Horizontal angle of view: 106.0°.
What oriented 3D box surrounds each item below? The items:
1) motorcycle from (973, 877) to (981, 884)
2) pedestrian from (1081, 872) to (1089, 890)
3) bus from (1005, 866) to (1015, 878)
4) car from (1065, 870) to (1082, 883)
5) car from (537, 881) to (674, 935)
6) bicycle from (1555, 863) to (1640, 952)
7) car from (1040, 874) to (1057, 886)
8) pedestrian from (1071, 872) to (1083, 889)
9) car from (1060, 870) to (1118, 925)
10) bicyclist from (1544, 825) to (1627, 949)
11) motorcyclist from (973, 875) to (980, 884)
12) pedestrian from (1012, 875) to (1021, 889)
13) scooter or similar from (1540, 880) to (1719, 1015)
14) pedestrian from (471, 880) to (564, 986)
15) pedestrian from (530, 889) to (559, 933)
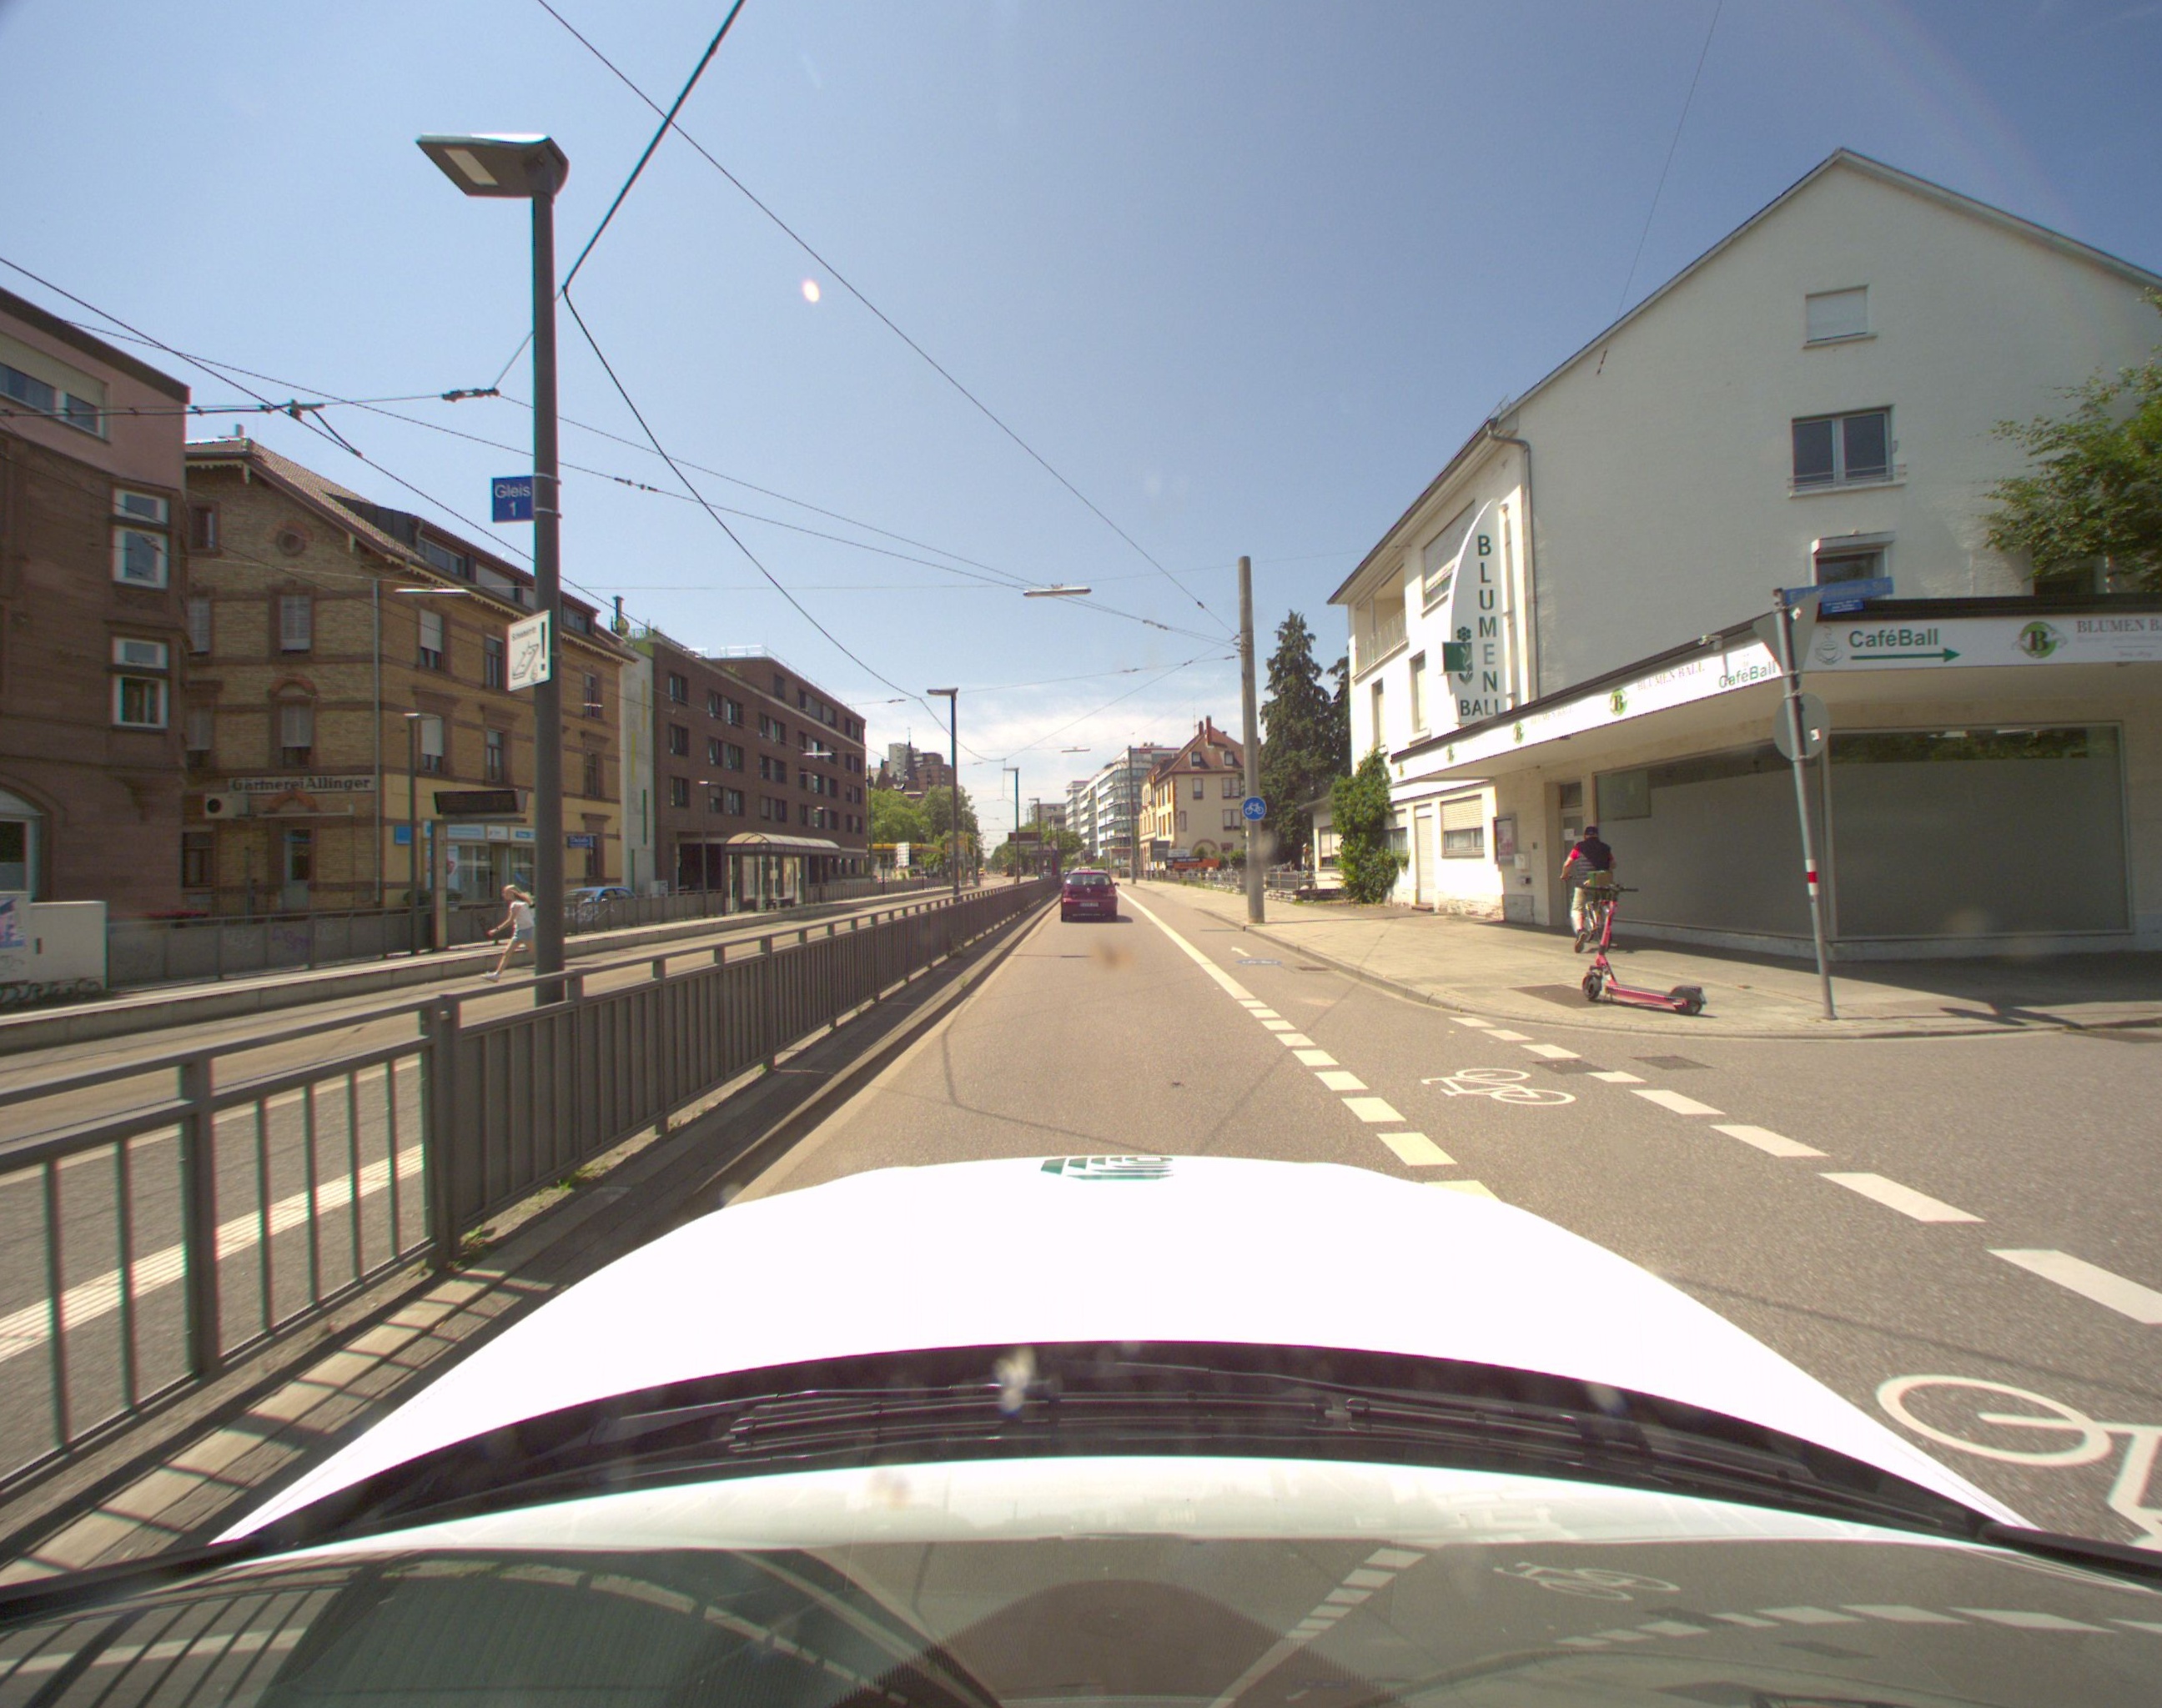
[{"bbox_3d":[-14.041,3.578,109.988,0.869,0.806,1.909,-2,-1,1],"label":"motorcycle"},{"bbox_3d":[0.439,2.799,84.945,0.743,1.836,0.791,-2,-1,-2],"label":"pedestrian"},{"bbox_3d":[-18.605,4.742,213.694,2.143,3.003,6.555,-2,-1,-7],"label":"bus"},{"bbox_3d":[-0.970,2.811,102.202,1.988,1.624,4.627,-2,-1,-2],"label":"car"},{"bbox_3d":[-15.659,1.726,27.080,1.985,1.508,4.003,-2,-1,3],"label":"car"},{"bbox_3d":[7.598,0.745,12.058,0.373,1.197,1.911,-2,-1,12],"label":"bicycle"},{"bbox_3d":[-5.323,4.173,131.239,1.996,1.849,3.982,-2,-1,-13],"label":"car"},{"bbox_3d":[-0.401,2.802,86.399,1.166,1.836,0.791,-2,-1,-2],"label":"pedestrian"},{"bbox_3d":[0.222,1.219,23.946,1.556,1.453,3.061,-2,-1,0],"label":"car"},{"bbox_3d":[7.503,0.477,12.155,0.722,1.761,0.927,-2,-1,13],"label":"bicyclist"},{"bbox_3d":[-14.077,3.389,109.873,0.846,1.140,0.634,-2,-1,0],"label":"motorcyclist"},{"bbox_3d":[-9.449,4.081,119.094,1.105,2.014,1.039,-2,-2,1],"label":"pedestrian"},{"bbox_3d":[5.281,0.857,7.943,0.341,1.178,1.456,-1,-2,-23],"label":"scooter or similar"},{"bbox_3d":[-9.494,1.294,13.732,0.756,1.674,1.107,-3,-2,39],"label":"pedestrian"},{"bbox_3d":[-20.020,2.115,30.415,0.612,1.561,0.640,-2,-1,0],"label":"pedestrian"}]
